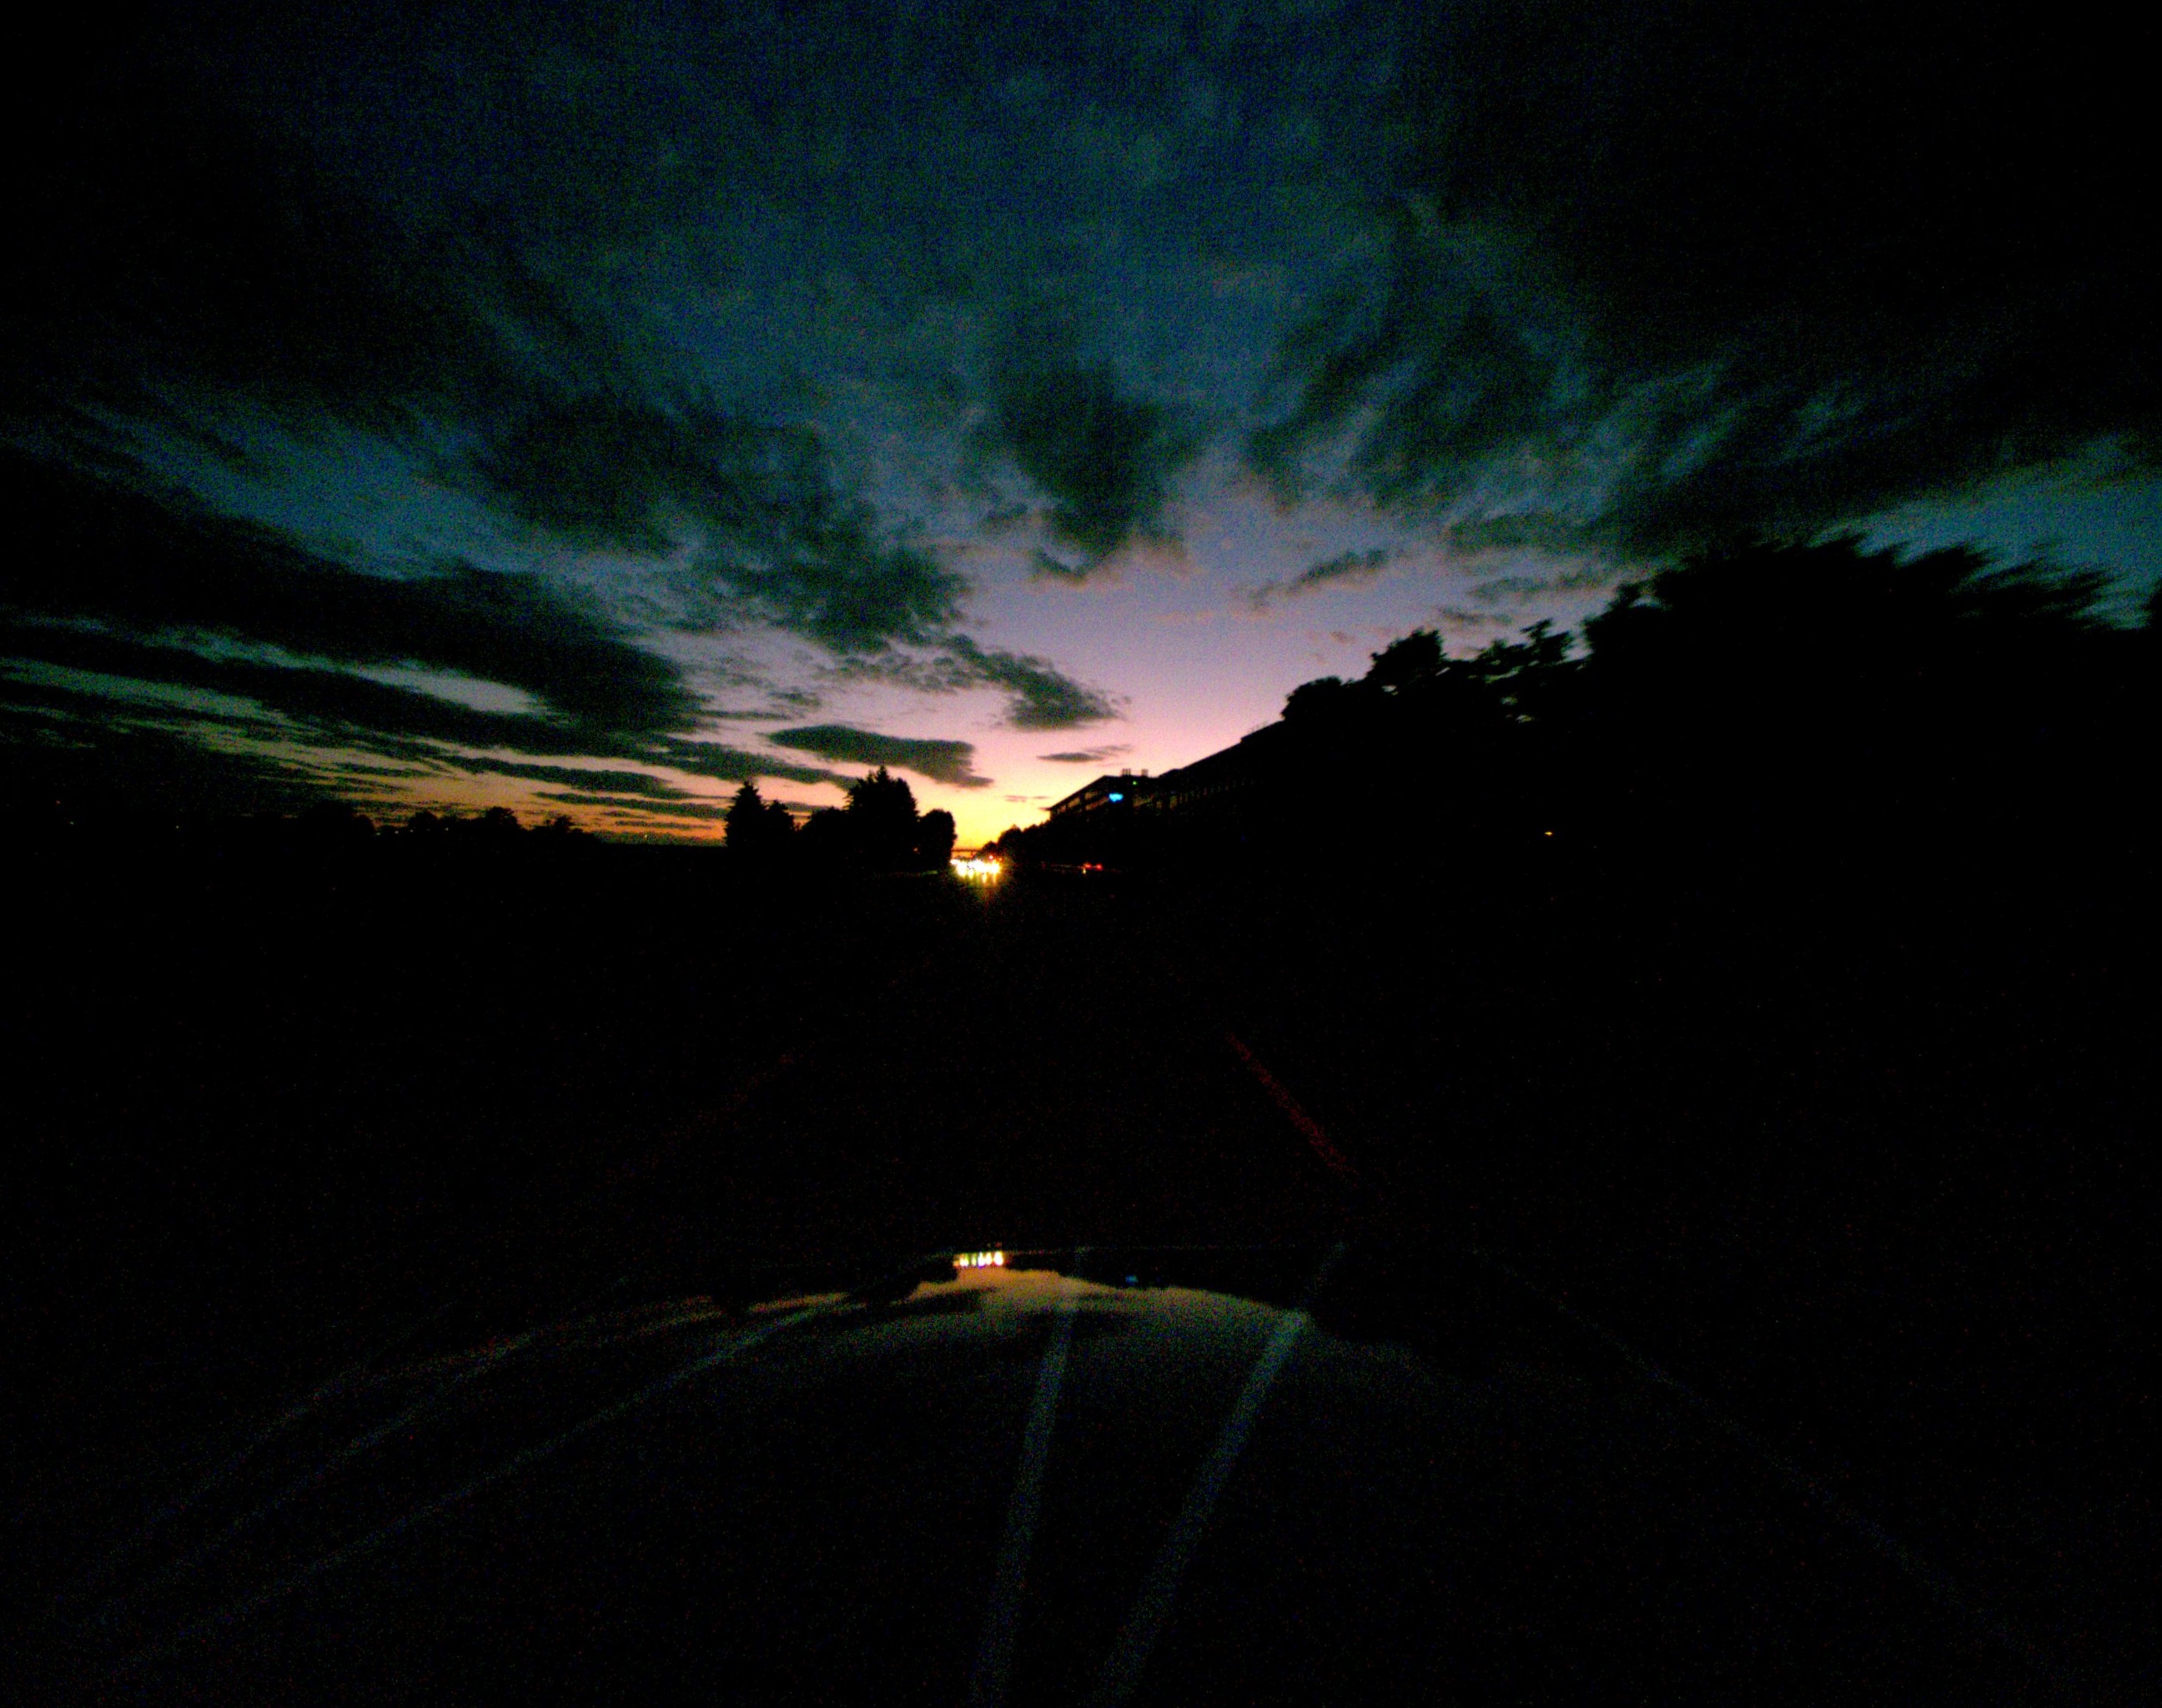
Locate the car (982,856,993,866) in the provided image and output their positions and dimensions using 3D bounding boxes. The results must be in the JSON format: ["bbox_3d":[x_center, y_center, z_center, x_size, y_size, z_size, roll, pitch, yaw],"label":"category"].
[{"bbox_3d":[-19.574,1.434,159.265,1.862,2.002,3.999,-2,0,-2],"label":"car"}]

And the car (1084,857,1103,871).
[{"bbox_3d":[1.490,1.178,93.076,1.706,1.613,4.304,-1,0,-8],"label":"car"}]

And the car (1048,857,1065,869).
[{"bbox_3d":[-3.298,1.155,101.009,1.698,1.524,3.997,-1,0,-9],"label":"car"}]

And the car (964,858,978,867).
[{"bbox_3d":[-20.680,1.651,142.800,1.999,1.574,3.999,-2,0,-2],"label":"car"}]

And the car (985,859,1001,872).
[{"bbox_3d":[-10.509,1.349,90.322,1.757,1.447,3.801,-2,0,-8],"label":"car"}]
